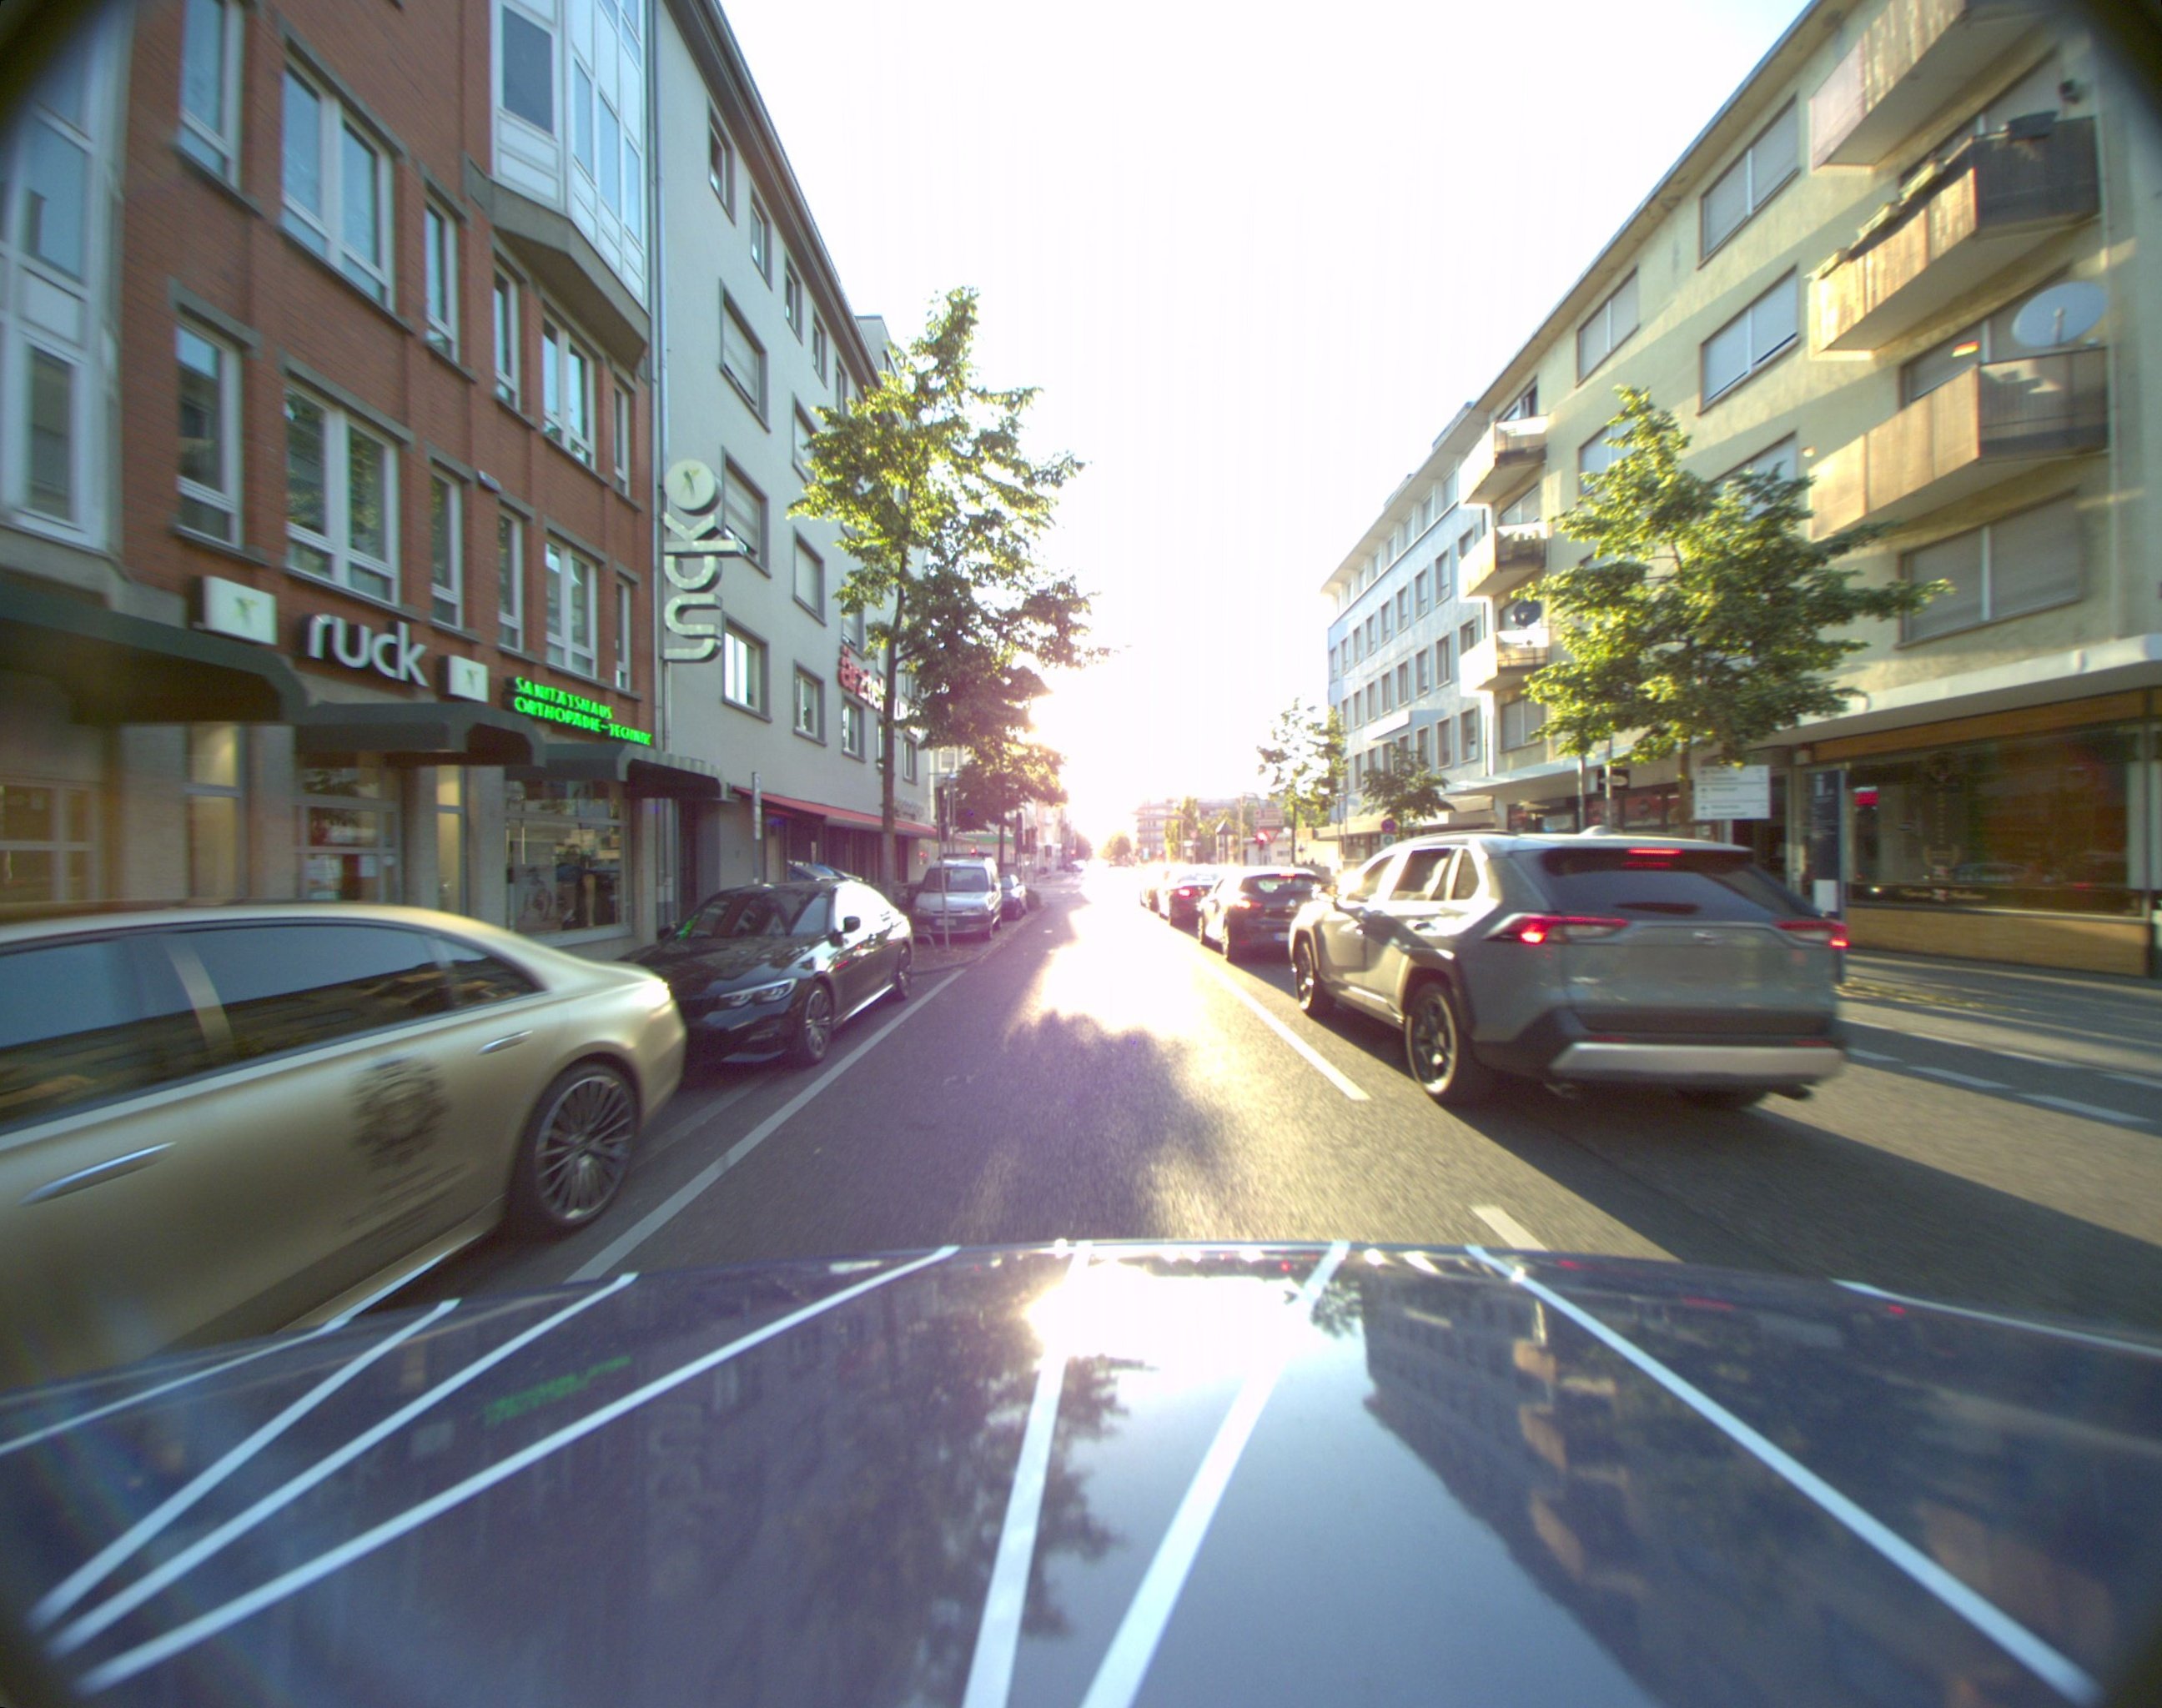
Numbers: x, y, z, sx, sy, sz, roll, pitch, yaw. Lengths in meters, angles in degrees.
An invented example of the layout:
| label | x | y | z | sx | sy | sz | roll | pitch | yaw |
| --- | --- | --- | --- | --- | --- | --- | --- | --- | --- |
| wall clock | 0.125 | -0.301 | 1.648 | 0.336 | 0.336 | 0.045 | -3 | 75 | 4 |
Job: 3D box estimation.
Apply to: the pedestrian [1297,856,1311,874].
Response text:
| label | x | y | z | sx | sy | sz | roll | pitch | yaw |
| --- | --- | --- | --- | --- | --- | --- | --- | --- | --- |
| pedestrian | 20.371 | 1.004 | 69.334 | 0.781 | 1.666 | 0.904 | -3 | 1 | -34 |

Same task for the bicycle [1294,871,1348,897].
| label | x | y | z | sx | sy | sz | roll | pitch | yaw |
| --- | --- | --- | --- | --- | --- | --- | --- | --- | --- |
| bicycle | 9.696 | 1.205 | 30.738 | 2.015 | 0.986 | 0.491 | -2 | 1 | -3 |

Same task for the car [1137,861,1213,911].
| label | x | y | z | sx | sy | sz | roll | pitch | yaw |
| --- | --- | --- | --- | --- | --- | --- | --- | --- | --- |
| car | 3.126 | 1.051 | 26.102 | 1.963 | 1.538 | 4.510 | 0 | -1 | -1 |

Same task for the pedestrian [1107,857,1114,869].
| label | x | y | z | sx | sy | sz | roll | pitch | yaw |
| --- | --- | --- | --- | --- | --- | --- | --- | --- | --- |
| pedestrian | 4.203 | 1.291 | 107.631 | 0.842 | 1.736 | 0.701 | -2 | 1 | 0 |

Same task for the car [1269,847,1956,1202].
| label | x | y | z | sx | sy | sz | roll | pitch | yaw |
| --- | --- | --- | --- | --- | --- | --- | --- | --- | --- |
| car | 3.030 | 0.772 | 5.861 | 1.945 | 1.635 | 4.738 | 0 | 0 | 0 |

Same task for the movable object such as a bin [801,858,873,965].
| label | x | y | z | sx | sy | sz | roll | pitch | yaw |
| --- | --- | --- | --- | --- | --- | --- | --- | --- | --- |
| movable object such as a bin | -4.255 | 0.966 | 13.335 | 0.837 | 1.763 | 1.205 | -2 | 1 | -3 |

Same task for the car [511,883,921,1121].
| label | x | y | z | sx | sy | sz | roll | pitch | yaw |
| --- | --- | --- | --- | --- | --- | --- | --- | --- | --- |
| car | -2.936 | 1.085 | 7.379 | 1.757 | 1.412 | 4.510 | -2 | -1 | 0 |

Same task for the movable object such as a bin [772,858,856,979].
| label | x | y | z | sx | sy | sz | roll | pitch | yaw |
| --- | --- | --- | --- | --- | --- | --- | --- | --- | --- |
| movable object such as a bin | -4.190 | 0.972 | 12.035 | 0.837 | 1.763 | 1.353 | -2 | 1 | -3 |

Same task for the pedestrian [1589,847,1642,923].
| label | x | y | z | sx | sy | sz | roll | pitch | yaw |
| --- | --- | --- | --- | --- | --- | --- | --- | --- | --- |
| pedestrian | 13.085 | 0.754 | 18.619 | 0.742 | 1.808 | 0.814 | 0 | 0 | 3 |

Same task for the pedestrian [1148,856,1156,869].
| label | x | y | z | sx | sy | sz | roll | pitch | yaw |
| --- | --- | --- | --- | --- | --- | --- | --- | --- | --- |
| pedestrian | 9.289 | 1.081 | 100.002 | 0.905 | 1.666 | 0.780 | -2 | 1 | 13 |

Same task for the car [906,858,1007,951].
| label | x | y | z | sx | sy | sz | roll | pitch | yaw |
| --- | --- | --- | --- | --- | --- | --- | --- | --- | --- |
| car | -2.651 | 1.025 | 16.946 | 1.659 | 1.768 | 4.011 | -2 | -1 | -2 |

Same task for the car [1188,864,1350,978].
| label | x | y | z | sx | sy | sz | roll | pitch | yaw |
| --- | --- | --- | --- | --- | --- | --- | --- | --- | --- |
| car | 2.925 | 0.958 | 12.793 | 1.728 | 1.540 | 4.465 | 0 | 0 | 1 |

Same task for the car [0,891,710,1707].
| label | x | y | z | sx | sy | sz | roll | pitch | yaw |
| --- | --- | --- | --- | --- | --- | --- | --- | --- | --- |
| car | -3.113 | 1.010 | 1.743 | 1.816 | 1.518 | 4.994 | -2 | 0 | 3 |

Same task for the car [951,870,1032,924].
| label | x | y | z | sx | sy | sz | roll | pitch | yaw |
| --- | --- | --- | --- | --- | --- | --- | --- | --- | --- |
| car | -2.593 | 1.215 | 22.990 | 1.942 | 1.368 | 4.182 | -2 | 0 | -1 |

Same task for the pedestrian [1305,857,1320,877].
| label | x | y | z | sx | sy | sz | roll | pitch | yaw |
| --- | --- | --- | --- | --- | --- | --- | --- | --- | --- |
| pedestrian | 20.775 | 1.173 | 68.245 | 0.908 | 1.774 | 0.879 | -2 | 1 | -23 |

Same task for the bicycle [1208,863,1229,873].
| label | x | y | z | sx | sy | sz | roll | pitch | yaw |
| --- | --- | --- | --- | --- | --- | --- | --- | --- | --- |
| bicycle | 15.124 | 1.547 | 83.454 | 2.180 | 1.081 | 0.779 | 0 | 1 | 1 |

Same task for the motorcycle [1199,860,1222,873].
| label | x | y | z | sx | sy | sz | roll | pitch | yaw |
| --- | --- | --- | --- | --- | --- | --- | --- | --- | --- |
| motorcycle | 14.777 | 1.440 | 86.702 | 2.450 | 1.358 | 0.780 | -2 | 0 | 6 |

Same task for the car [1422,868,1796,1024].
| label | x | y | z | sx | sy | sz | roll | pitch | yaw |
| --- | --- | --- | --- | --- | --- | --- | --- | --- | --- |
| car | 6.673 | 1.029 | 10.418 | 1.998 | 1.503 | 4.509 | 2 | 0 | 1 |

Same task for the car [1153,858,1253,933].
| label | x | y | z | sx | sy | sz | roll | pitch | yaw |
| --- | --- | --- | --- | --- | --- | --- | --- | --- | --- |
| car | 3.004 | 0.967 | 19.639 | 1.951 | 1.635 | 4.615 | 0 | 0 | 1 |

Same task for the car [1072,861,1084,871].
| label | x | y | z | sx | sy | sz | roll | pitch | yaw |
| --- | --- | --- | --- | --- | --- | --- | --- | --- | --- |
| car | -0.526 | 1.941 | 125.127 | 1.999 | 1.538 | 4.509 | -2 | 0 | -1 |

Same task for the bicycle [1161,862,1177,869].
| label | x | y | z | sx | sy | sz | roll | pitch | yaw |
| --- | --- | --- | --- | --- | --- | --- | --- | --- | --- |
| bicycle | 13.929 | 1.864 | 120.004 | 2.398 | 1.065 | 0.673 | -2 | 1 | 8 |

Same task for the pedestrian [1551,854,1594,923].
| label | x | y | z | sx | sy | sz | roll | pitch | yaw |
| --- | --- | --- | --- | --- | --- | --- | --- | --- | --- |
| pedestrian | 12.358 | 0.845 | 19.090 | 0.768 | 1.666 | 0.744 | -1 | 0 | 43 |

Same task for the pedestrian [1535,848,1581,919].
| label | x | y | z | sx | sy | sz | roll | pitch | yaw |
| --- | --- | --- | --- | --- | --- | --- | --- | --- | --- |
| pedestrian | 12.611 | 0.775 | 20.115 | 0.769 | 1.836 | 0.744 | -1 | -1 | 11 |
